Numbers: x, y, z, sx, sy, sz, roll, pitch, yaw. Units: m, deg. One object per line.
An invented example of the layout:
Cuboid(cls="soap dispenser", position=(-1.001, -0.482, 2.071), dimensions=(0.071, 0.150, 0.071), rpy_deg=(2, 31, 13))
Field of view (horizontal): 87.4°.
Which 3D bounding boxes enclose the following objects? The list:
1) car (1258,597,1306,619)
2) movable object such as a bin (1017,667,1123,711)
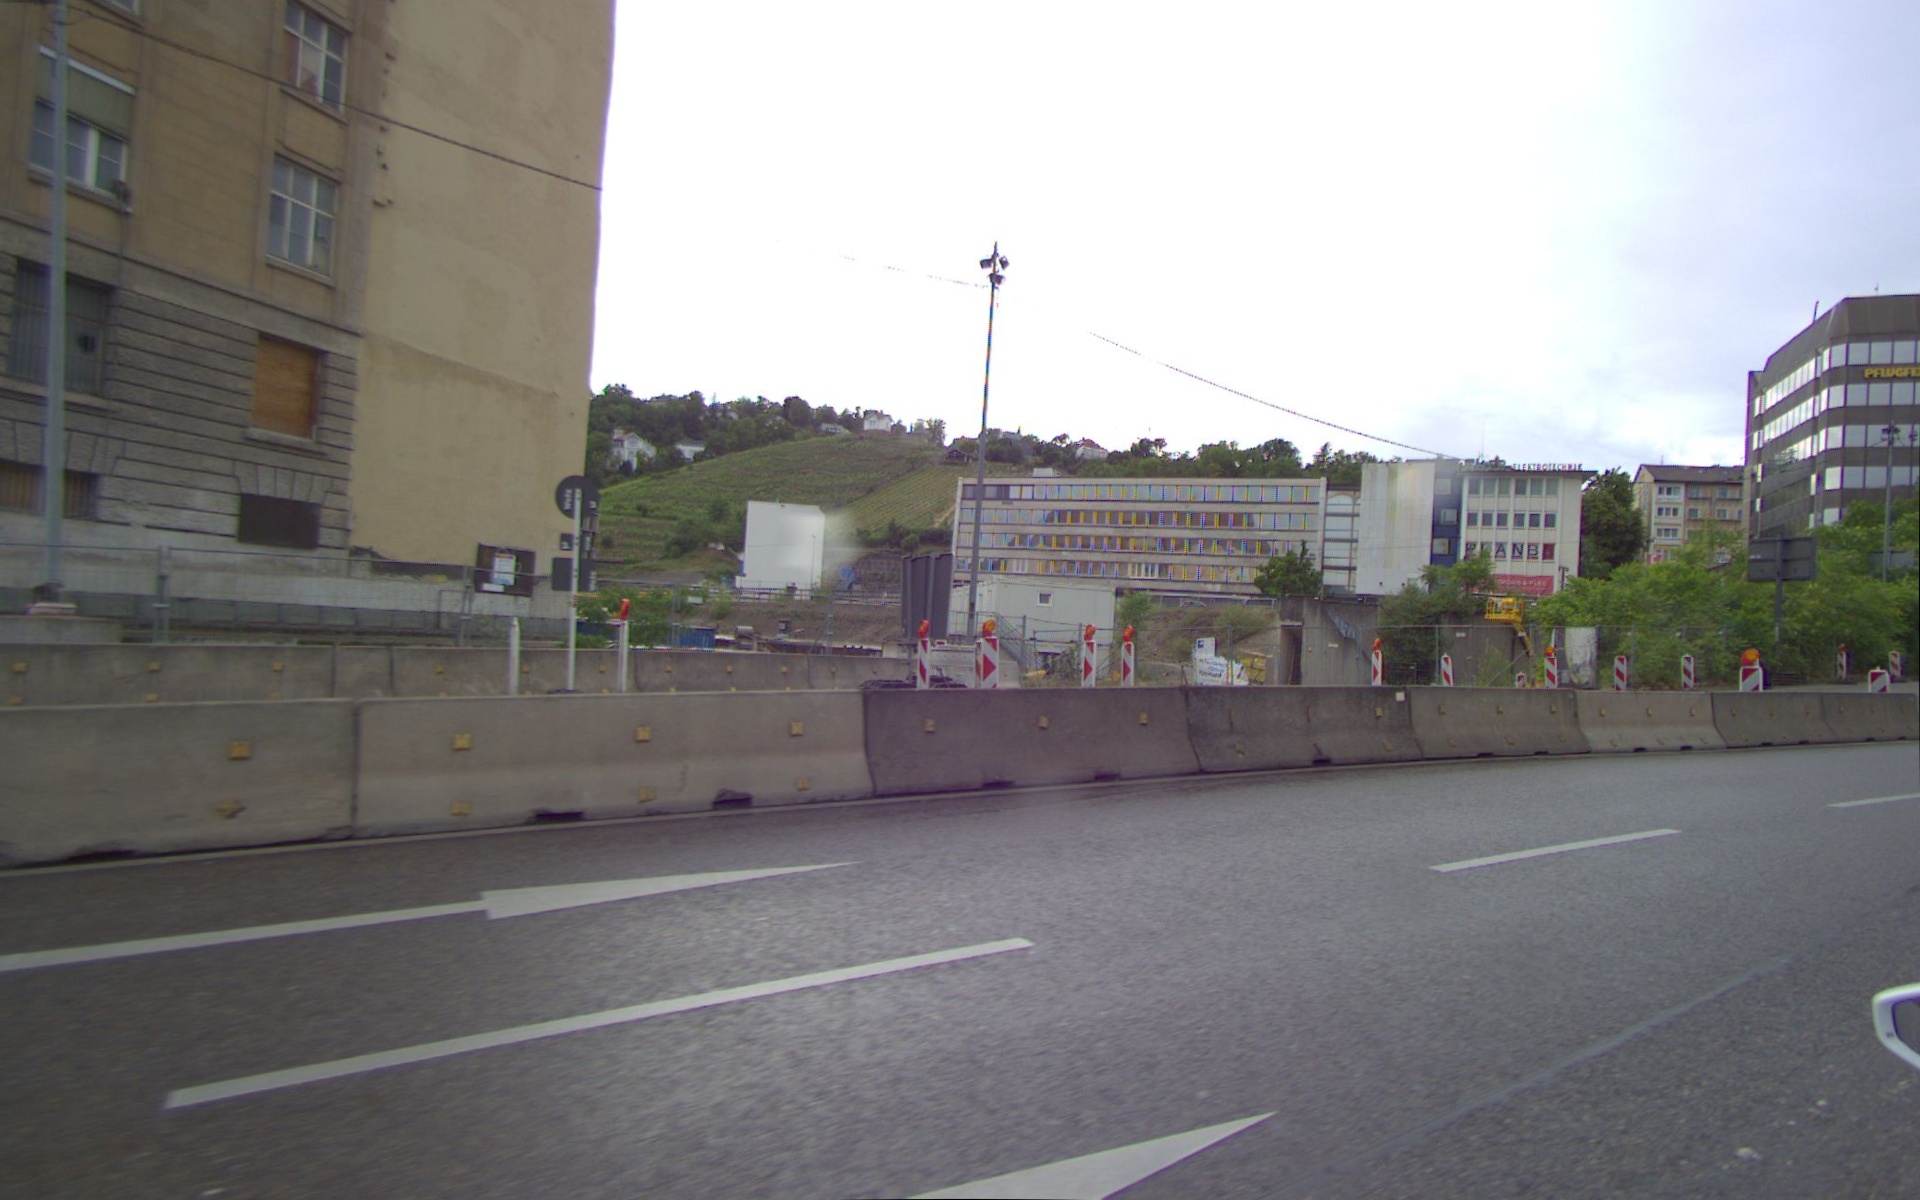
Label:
Cuboid(cls="car", position=(29.187, 0.695, 90.983), dimensions=(3.923, 1.728, 2.000), rpy_deg=(2, -2, 23))
Cuboid(cls="movable object such as a bin", position=(4.932, 4.000, 45.113), dimensions=(4.382, 1.698, 1.728), rpy_deg=(4, -2, -21))
